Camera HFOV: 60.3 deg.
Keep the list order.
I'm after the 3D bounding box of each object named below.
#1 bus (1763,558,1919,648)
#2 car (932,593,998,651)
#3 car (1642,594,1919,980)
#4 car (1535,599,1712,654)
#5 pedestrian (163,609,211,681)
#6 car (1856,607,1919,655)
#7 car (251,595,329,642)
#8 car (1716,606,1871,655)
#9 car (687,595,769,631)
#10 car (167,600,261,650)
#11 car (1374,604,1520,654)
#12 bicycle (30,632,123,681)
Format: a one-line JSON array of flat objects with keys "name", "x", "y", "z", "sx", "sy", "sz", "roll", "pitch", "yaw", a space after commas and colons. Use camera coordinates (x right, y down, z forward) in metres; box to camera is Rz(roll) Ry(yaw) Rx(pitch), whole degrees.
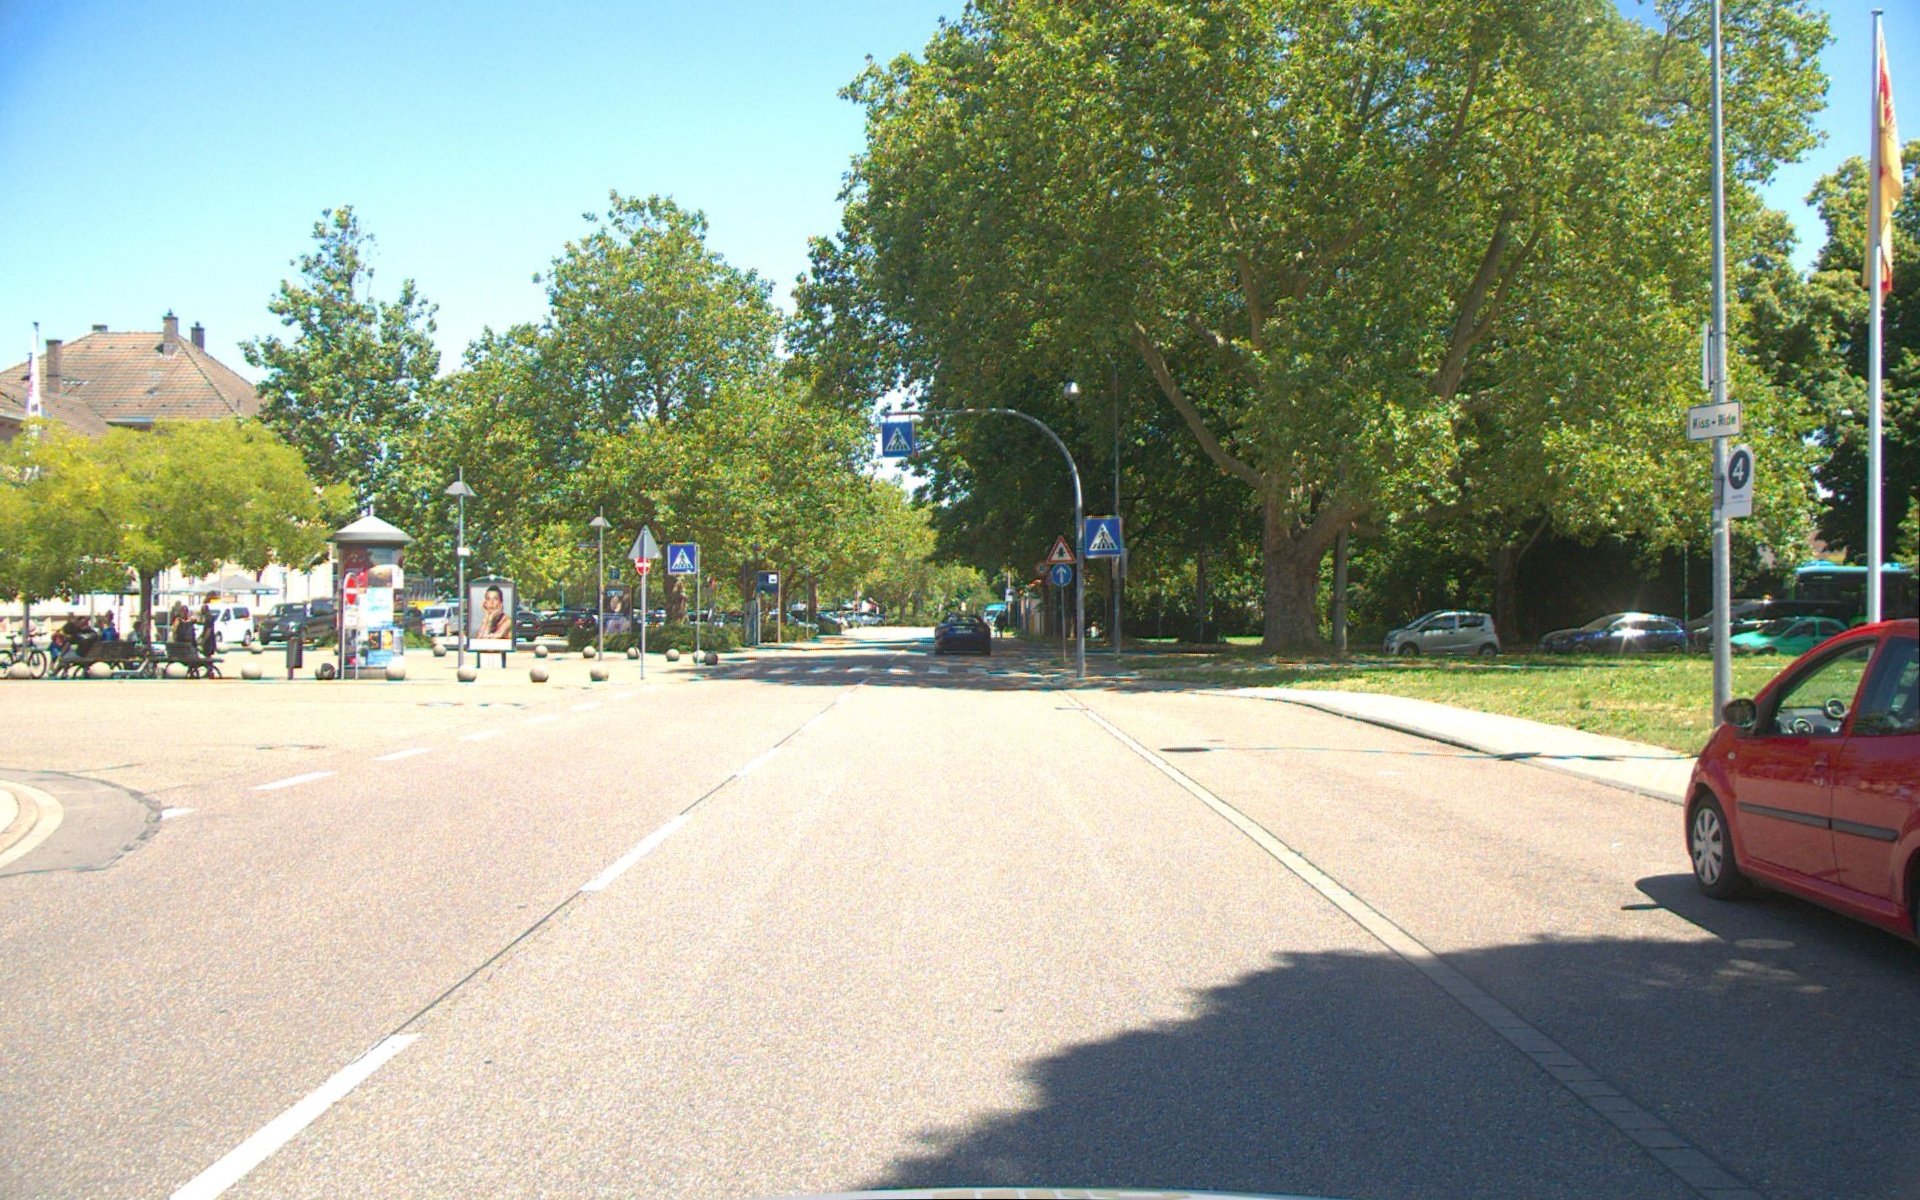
[{"name": "bus", "x": 34.387, "y": 0.114, "z": 57.198, "sx": 12.125, "sy": 3.030, "sz": 2.268, "roll": 0, "pitch": -1, "yaw": -1}, {"name": "car", "x": 0.120, "y": 0.734, "z": 55.385, "sx": 2.082, "sy": 1.881, "sz": 4.046, "roll": 0, "pitch": -1, "yaw": -2}, {"name": "car", "x": 4.638, "y": 0.727, "z": 7.554, "sx": 1.682, "sy": 1.504, "sz": 3.707, "roll": -1, "pitch": -1, "yaw": 3}, {"name": "car", "x": 20.558, "y": 0.816, "z": 51.384, "sx": 4.723, "sy": 1.636, "sz": 2.001, "roll": 0, "pitch": 0, "yaw": 3}, {"name": "pedestrian", "x": -18.392, "y": 1.083, "z": 39.362, "sx": 0.744, "sy": 1.688, "sz": 0.721, "roll": -1, "pitch": -2, "yaw": 16}, {"name": "car", "x": 30.515, "y": 0.984, "z": 51.424, "sx": 4.248, "sy": 1.441, "sz": 2.000, "roll": 0, "pitch": -2, "yaw": 0}, {"name": "car", "x": -30.119, "y": 0.813, "z": 74.462, "sx": 1.953, "sy": 2.049, "sz": 3.999, "roll": 0, "pitch": 0, "yaw": -1}, {"name": "car", "x": 25.880, "y": 0.955, "z": 51.448, "sx": 3.801, "sy": 1.479, "sz": 2.000, "roll": 0, "pitch": -2, "yaw": 1}, {"name": "car", "x": -12.097, "y": 0.686, "z": 86.142, "sx": 3.926, "sy": 1.813, "sz": 1.989, "roll": 0, "pitch": -3, "yaw": -19}, {"name": "car", "x": -30.393, "y": 0.975, "z": 67.555, "sx": 1.715, "sy": 1.951, "sz": 4.774, "roll": 0, "pitch": 0, "yaw": -1}, {"name": "car", "x": 15.202, "y": 0.891, "z": 51.781, "sx": 4.020, "sy": 1.492, "sz": 2.000, "roll": 0, "pitch": 0, "yaw": 2}, {"name": "bicycle", "x": -19.513, "y": 1.237, "z": 36.557, "sx": 1.769, "sy": 1.049, "sz": 0.485, "roll": 0, "pitch": -1, "yaw": -24}]
